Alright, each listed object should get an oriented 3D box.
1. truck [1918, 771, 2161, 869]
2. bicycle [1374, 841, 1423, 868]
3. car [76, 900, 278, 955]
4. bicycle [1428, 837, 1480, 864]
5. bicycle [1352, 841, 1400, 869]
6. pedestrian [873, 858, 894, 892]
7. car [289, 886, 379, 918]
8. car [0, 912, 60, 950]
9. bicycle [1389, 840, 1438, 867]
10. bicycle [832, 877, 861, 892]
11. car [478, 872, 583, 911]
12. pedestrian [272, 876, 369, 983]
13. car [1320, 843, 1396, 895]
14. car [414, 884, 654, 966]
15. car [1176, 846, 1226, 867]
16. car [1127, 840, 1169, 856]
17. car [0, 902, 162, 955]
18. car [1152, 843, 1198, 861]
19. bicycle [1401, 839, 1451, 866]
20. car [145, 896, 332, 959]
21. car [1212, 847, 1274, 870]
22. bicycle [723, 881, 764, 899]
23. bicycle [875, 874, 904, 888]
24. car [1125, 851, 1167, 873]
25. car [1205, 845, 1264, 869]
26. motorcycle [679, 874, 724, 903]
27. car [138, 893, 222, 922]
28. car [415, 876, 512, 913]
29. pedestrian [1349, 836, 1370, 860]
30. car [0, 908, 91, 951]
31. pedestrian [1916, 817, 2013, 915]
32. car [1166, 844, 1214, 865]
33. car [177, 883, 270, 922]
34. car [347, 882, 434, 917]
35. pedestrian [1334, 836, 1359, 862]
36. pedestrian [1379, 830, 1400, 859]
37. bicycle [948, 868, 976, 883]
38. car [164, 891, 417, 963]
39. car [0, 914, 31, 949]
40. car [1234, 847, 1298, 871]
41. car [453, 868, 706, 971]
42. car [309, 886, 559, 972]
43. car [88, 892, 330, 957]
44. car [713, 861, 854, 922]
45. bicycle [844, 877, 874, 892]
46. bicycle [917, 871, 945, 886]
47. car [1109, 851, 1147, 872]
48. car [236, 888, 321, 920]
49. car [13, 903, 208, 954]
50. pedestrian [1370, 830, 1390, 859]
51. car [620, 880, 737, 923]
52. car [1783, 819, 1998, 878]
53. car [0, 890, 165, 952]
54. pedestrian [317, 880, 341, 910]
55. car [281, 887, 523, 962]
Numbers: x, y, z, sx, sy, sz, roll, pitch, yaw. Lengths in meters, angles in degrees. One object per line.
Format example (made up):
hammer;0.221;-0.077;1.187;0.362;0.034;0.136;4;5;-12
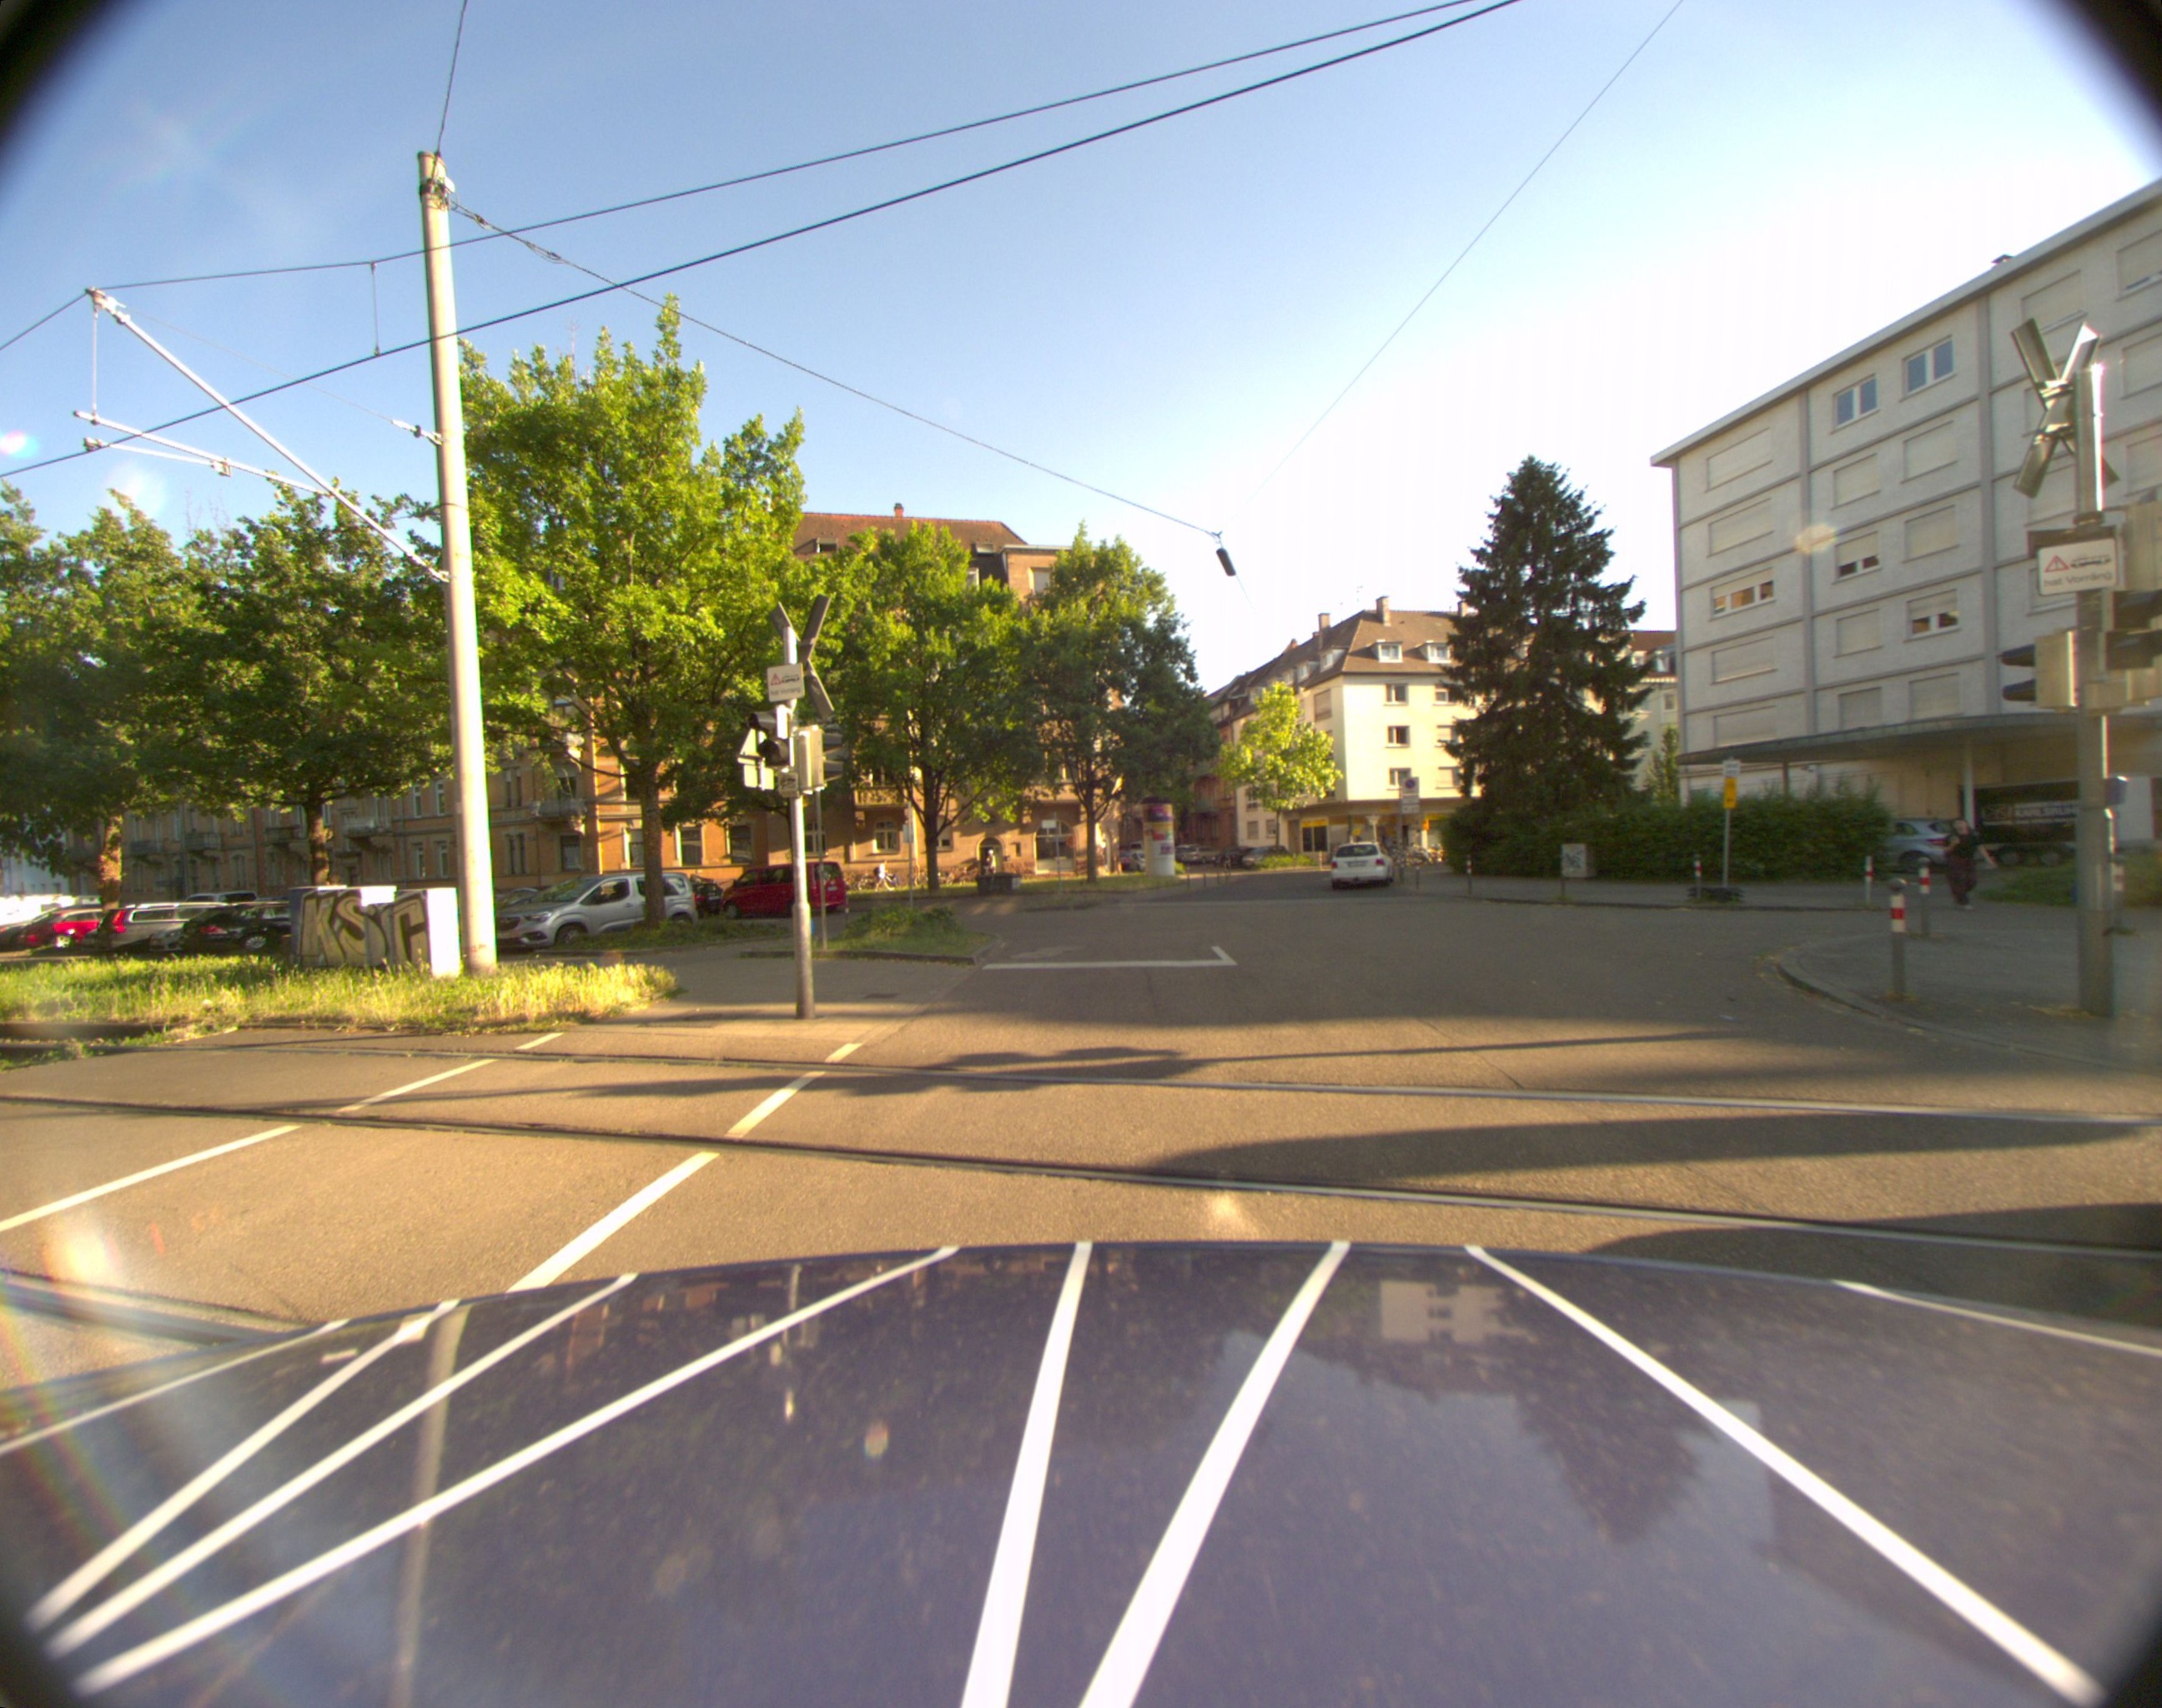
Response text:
truck;28.309;-0.909;22.097;2.000;2.520;4.967;-3;0;-12
bicycle;17.926;-0.014;43.020;0.881;1.437;3.376;-3;1;-9
car;-30.283;2.419;25.617;1.680;1.452;4.006;-3;0;23
bicycle;21.720;-0.237;44.341;0.881;1.437;3.376;-3;2;-9
bicycle;16.593;0.031;42.852;0.881;1.437;3.376;-3;1;-9
pedestrian;-10.327;1.081;39.795;0.912;1.708;0.675;-4;1;-13
car;-39.135;2.505;39.796;4.280;1.376;1.771;-3;2;23
car;-46.033;3.319;31.558;1.680;1.480;4.006;-3;0;23
bicycle;18.957;-0.071;43.434;0.881;1.437;3.376;-3;1;-9
bicycle;-12.924;1.703;41.910;1.511;0.728;0.368;-3;1;-13
car;-24.475;1.676;33.772;4.260;1.467;1.784;-3;3;25
pedestrian;-14.360;1.402;14.357;1.147;1.906;0.907;-3;-1;23
car;9.283;0.453;25.261;1.919;1.442;4.302;-4;0;25
car;-13.794;1.701;19.524;1.945;1.563;4.560;-2;1;25
car;10.021;0.192;63.197;4.007;1.496;1.868;-3;0;-41
car;6.827;-0.620;77.330;4.007;1.392;1.868;-3;0;-41
car;-37.257;2.704;27.933;1.762;1.570;4.006;-3;0;21
car;8.548;-0.191;68.696;4.007;1.392;1.868;-3;0;-41
bicycle;19.928;-0.130;44.010;0.881;1.437;3.376;-3;2;-9
car;-25.586;2.193;23.208;1.715;1.505;3.415;-3;0;25
car;11.514;0.315;54.061;4.005;1.392;1.869;-3;0;-29
bicycle;-18.182;1.934;40.949;1.899;0.843;0.525;-4;0;-13
bicycle;-10.691;1.509;42.431;1.511;0.728;0.368;-3;1;-13
car;4.418;0.561;52.445;1.874;1.392;3.996;-3;0;-10
car;11.612;0.213;57.381;4.005;1.559;1.870;-3;0;-26
motorcycle;-20.125;1.828;40.313;1.899;1.345;0.809;-4;0;-13
car;-54.361;3.253;45.845;4.383;1.433;1.884;-3;2;22
car;-28.955;1.905;35.659;3.873;1.467;1.691;-3;2;21
pedestrian;18.900;-0.396;51.559;0.964;1.560;0.890;-3;1;-11
car;-43.676;3.127;30.762;1.680;1.544;4.006;-3;0;23
pedestrian;16.198;0.207;13.958;0.869;1.726;0.832;-3;2;21
car;9.548;0.019;66.360;4.007;1.626;1.868;-3;0;-41
car;-49.127;2.776;43.545;4.714;1.872;1.915;-3;3;22
car;-34.305;2.277;37.774;3.700;1.467;1.691;-3;3;23
pedestrian;17.840;-0.351;51.013;1.215;1.657;0.963;-3;1;-11
pedestrian;20.466;-0.622;50.427;0.891;1.864;0.851;-3;1;-12
bicycle;-6.781;1.215;43.446;1.511;0.728;0.368;-5;1;-13
car;-23.120;2.053;22.492;1.995;1.563;4.723;-2;1;25
car;-48.505;3.461;32.419;1.680;1.480;4.006;-3;0;23
car;12.634;0.349;51.856;4.005;1.392;1.869;-3;0;-29
car;-11.547;1.402;17.915;1.945;1.903;4.560;-2;1;25
car;-16.552;1.821;19.752;1.945;1.681;4.457;-2;1;25
car;-27.939;2.180;24.593;1.995;1.563;4.723;-2;1;25
car;-10.987;1.392;28.028;4.762;1.923;1.784;-3;3;22
bicycle;-12.177;1.665;41.689;1.511;0.728;0.368;-3;1;-13
bicycle;-8.521;1.396;43.160;1.511;0.728;0.368;-3;1;-13
car;3.489;0.570;57.348;1.874;1.392;3.996;-3;0;-10
car;-43.873;2.717;41.536;3.879;1.430;1.771;-3;2;22
car;-34.950;2.642;27.512;1.680;1.415;4.006;-3;0;23
pedestrian;20.177;-0.639;51.256;0.891;1.864;0.851;-3;1;-12
car;-16.010;1.878;30.212;4.260;1.426;1.784;-3;3;25
car;24.183;-0.158;22.935;2.000;1.524;3.997;-3;0;-8
car;-39.638;2.583;29.406;2.150;2.026;4.868;-3;0;23
pedestrian;-44.883;2.435;45.344;0.720;1.709;0.676;-2;3;23
car;-18.619;1.840;21.128;1.945;1.563;4.560;-2;1;25
